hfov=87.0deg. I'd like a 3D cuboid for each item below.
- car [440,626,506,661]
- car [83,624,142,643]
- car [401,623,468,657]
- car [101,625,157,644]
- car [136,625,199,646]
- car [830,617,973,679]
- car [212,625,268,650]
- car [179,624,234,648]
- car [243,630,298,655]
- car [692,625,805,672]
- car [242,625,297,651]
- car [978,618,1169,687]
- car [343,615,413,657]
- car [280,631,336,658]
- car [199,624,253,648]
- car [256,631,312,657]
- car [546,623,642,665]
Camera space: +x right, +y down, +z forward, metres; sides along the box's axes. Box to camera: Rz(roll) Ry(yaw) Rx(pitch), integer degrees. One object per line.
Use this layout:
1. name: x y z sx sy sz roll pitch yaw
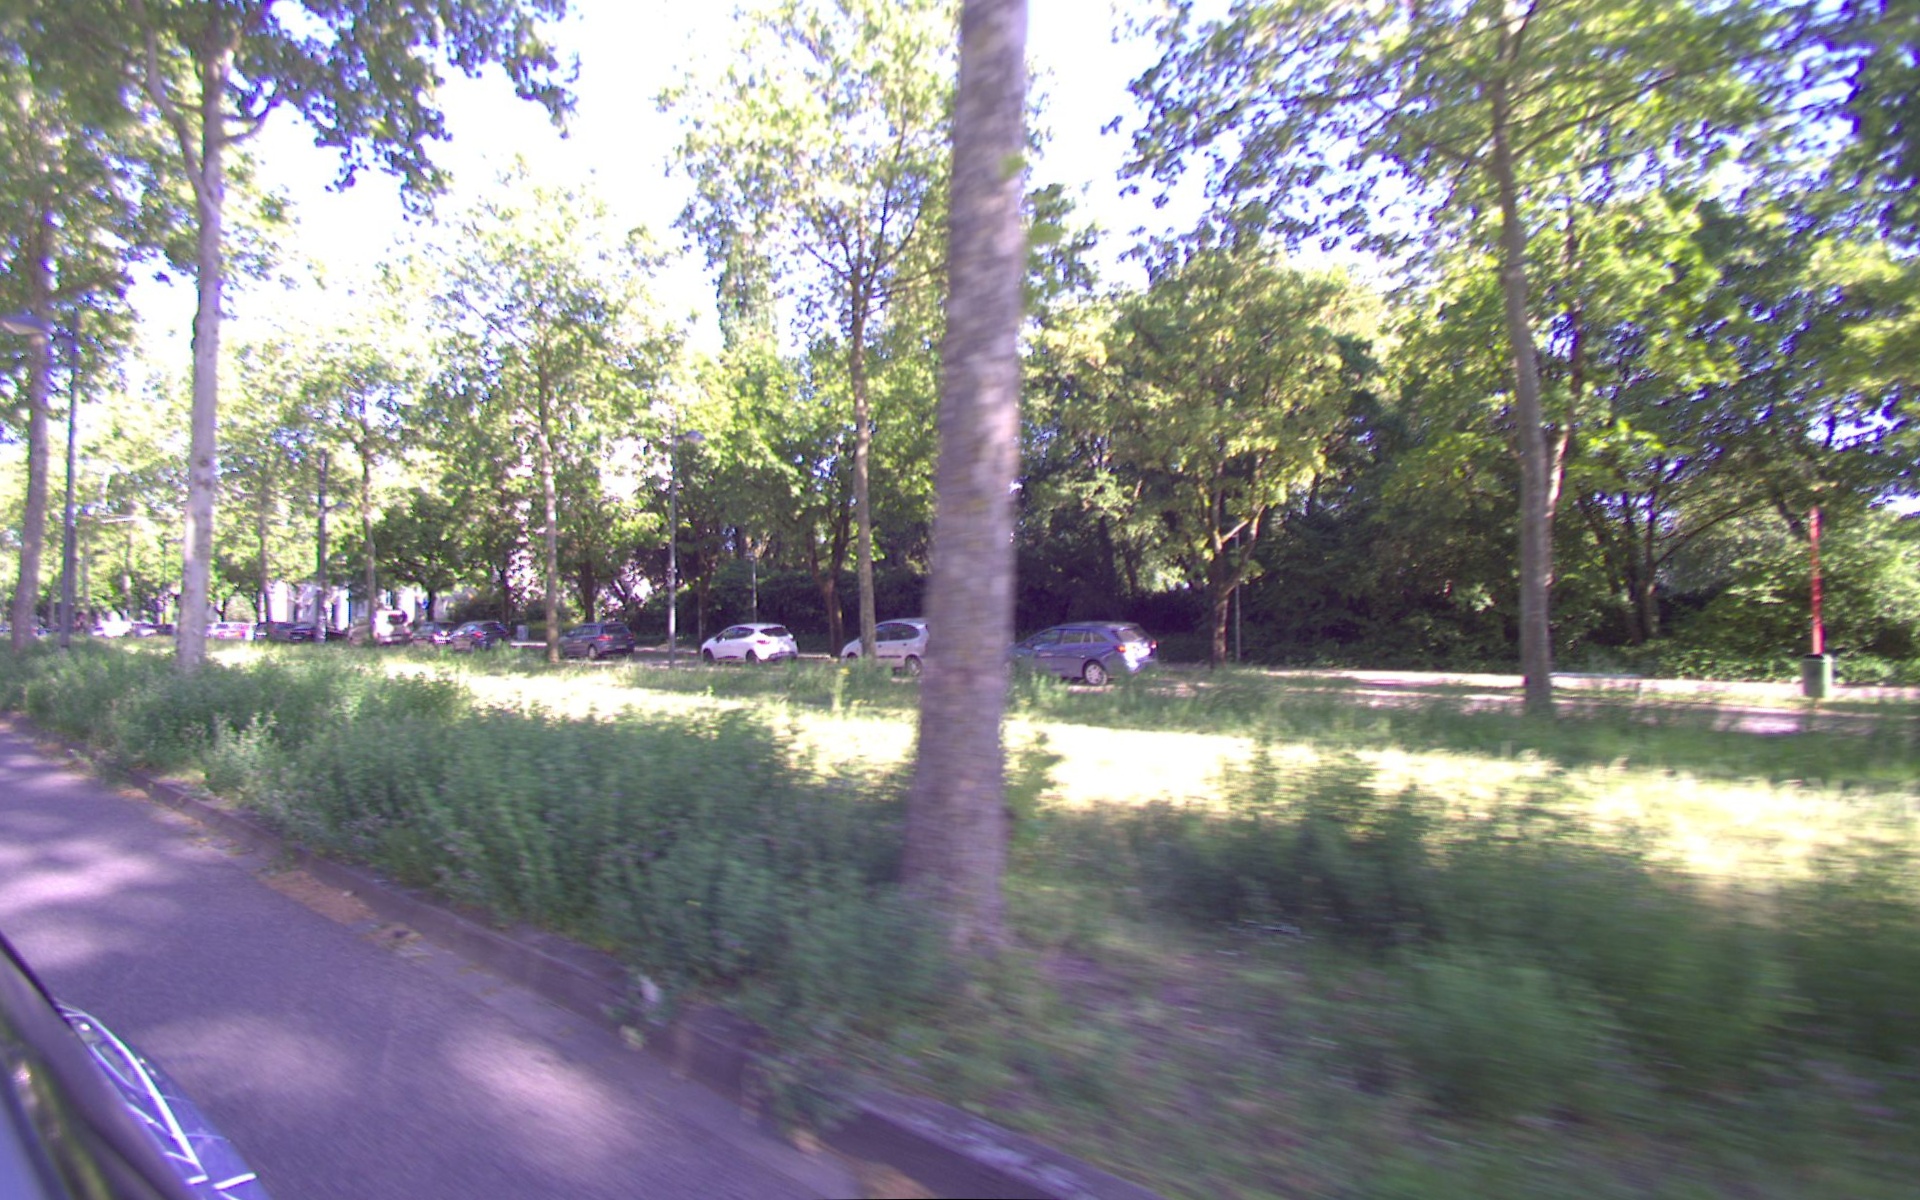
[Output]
1. car: -23.176 2.049 48.116 3.567 1.499 1.525 -1 2 41
2. car: -84.885 3.343 101.403 1.821 1.722 4.487 -1 0 9
3. car: -26.942 2.017 51.834 3.815 1.507 1.732 0 2 41
4. car: -80.042 3.294 97.504 1.821 1.722 3.989 -1 0 9
5. car: -71.695 3.209 91.641 1.879 1.722 4.487 -1 0 9
6. car: -1.809 1.374 30.244 4.188 1.608 1.797 -1 2 41
7. car: -54.278 2.815 76.367 1.868 1.722 4.512 -1 0 -13
8. car: -60.493 2.856 81.331 1.868 1.722 4.512 -1 0 -13
9. car: -48.228 2.971 70.913 1.858 1.579 4.010 -1 0 -13
10. car: -7.342 1.627 34.903 4.022 1.429 1.701 -1 2 42
11. car: -51.516 2.797 75.568 1.868 1.722 4.512 -1 0 -13
12. car: 2.854 1.275 26.086 4.625 1.499 1.878 -1 2 41
13. car: -32.343 1.960 56.216 4.275 2.072 1.962 -1 2 40
14. car: -42.736 2.916 66.387 1.858 1.579 4.010 -1 0 -13
15. car: -57.582 2.817 79.493 1.868 1.722 4.512 -1 0 -13
16. car: -45.459 2.944 68.131 1.858 1.579 4.010 -1 0 -13
17. car: -15.106 1.770 41.697 4.175 1.499 1.820 -1 2 39
